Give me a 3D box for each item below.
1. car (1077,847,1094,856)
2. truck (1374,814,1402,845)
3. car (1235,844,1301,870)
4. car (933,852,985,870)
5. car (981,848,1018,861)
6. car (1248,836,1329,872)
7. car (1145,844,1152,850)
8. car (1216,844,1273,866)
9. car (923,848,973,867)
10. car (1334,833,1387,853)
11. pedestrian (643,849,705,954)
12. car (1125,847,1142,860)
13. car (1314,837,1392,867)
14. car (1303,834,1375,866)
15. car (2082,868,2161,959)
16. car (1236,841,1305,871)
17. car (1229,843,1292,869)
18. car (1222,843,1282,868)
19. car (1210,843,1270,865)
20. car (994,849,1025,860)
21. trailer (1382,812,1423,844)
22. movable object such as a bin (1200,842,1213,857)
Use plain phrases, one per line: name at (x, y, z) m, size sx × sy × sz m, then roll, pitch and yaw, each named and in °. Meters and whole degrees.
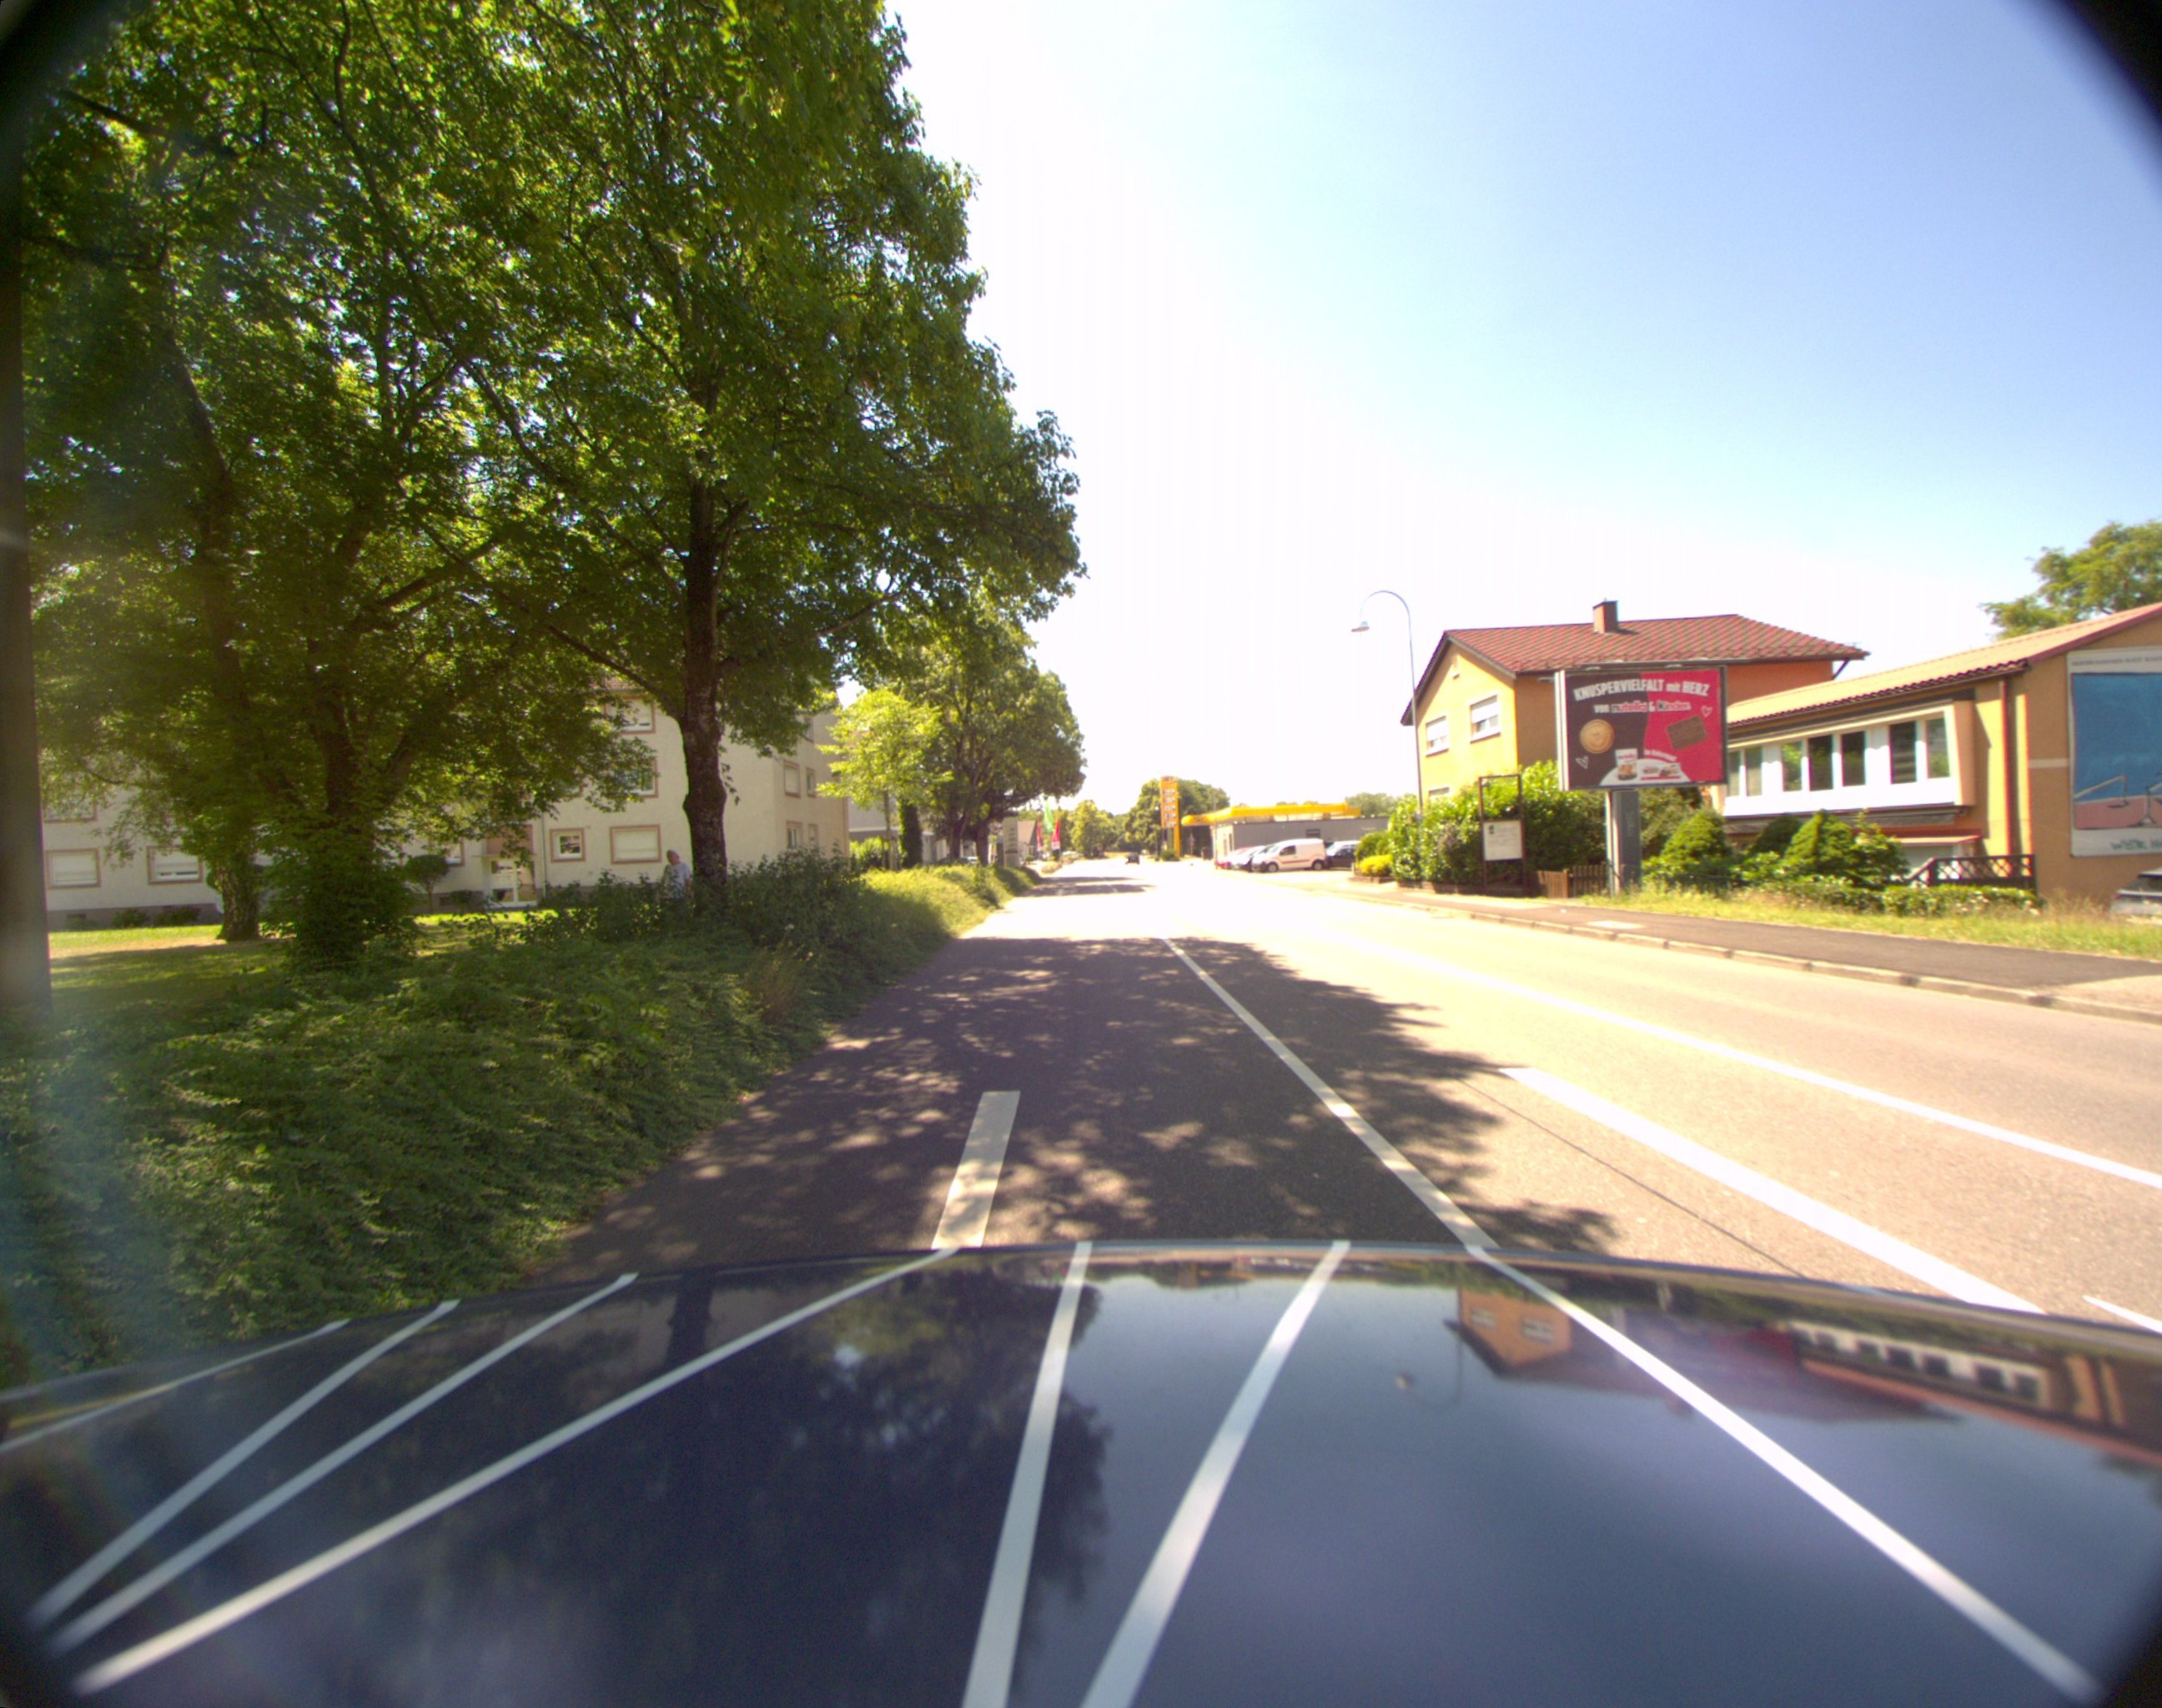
car at (0.890, -0.503, 150.522) m, size 3.405 × 1.498 × 1.582 m, roll -2°, pitch 1°, yaw 2°
truck at (34.336, -2.721, 85.042) m, size 1.850 × 3.223 × 3.189 m, roll -2°, pitch 0°, yaw 1°
car at (11.933, 0.163, 48.677) m, size 3.673 × 1.523 × 1.922 m, roll -2°, pitch 1°, yaw -2°
car at (-11.211, 0.632, 69.927) m, size 4.362 × 1.363 × 1.952 m, roll -3°, pitch 1°, yaw -22°
car at (-11.146, 0.021, 104.478) m, size 4.586 × 1.632 × 2.002 m, roll -2°, pitch 1°, yaw 20°
car at (12.043, 0.002, 44.306) m, size 4.105 × 1.887 × 1.999 m, roll -2°, pitch 1°, yaw -4°
car at (20.447, -2.145, 230.917) m, size 1.973 × 1.663 × 4.249 m, roll -2°, pitch 0°, yaw 5°
car at (11.883, 0.056, 55.485) m, size 3.673 × 1.449 × 1.892 m, roll -2°, pitch 1°, yaw -2°
car at (-11.633, 0.284, 66.516) m, size 3.997 × 1.541 × 1.797 m, roll -1°, pitch 1°, yaw 0°
car at (24.645, -1.006, 67.116) m, size 3.996 × 1.575 × 1.754 m, roll -2°, pitch 1°, yaw 2°
pedestrian at (-7.575, 0.866, 14.164) m, size 0.705 × 1.903 × 0.660 m, roll -2°, pitch 1°, yaw 3°
car at (6.273, -0.093, 91.690) m, size 1.714 × 1.486 × 4.277 m, roll -2°, pitch 0°, yaw 0°
car at (16.574, -0.131, 46.414) m, size 3.997 × 1.559 × 1.830 m, roll -3°, pitch 1°, yaw -1°
car at (16.490, -0.264, 48.652) m, size 3.912 × 1.850 × 1.999 m, roll -2°, pitch 1°, yaw -1°
car at (19.687, 0.949, 12.387) m, size 4.035 × 1.442 × 1.780 m, roll -1°, pitch 1°, yaw 6°
car at (11.517, 0.111, 46.404) m, size 3.673 × 1.663 × 1.922 m, roll -2°, pitch 1°, yaw -2°
car at (11.989, 0.141, 50.888) m, size 3.673 × 1.572 × 1.922 m, roll -2°, pitch 1°, yaw -2°
car at (11.889, 0.084, 52.975) m, size 3.673 × 1.596 × 1.881 m, roll -2°, pitch 1°, yaw -2°
car at (12.076, -0.002, 57.920) m, size 4.136 × 1.436 × 1.826 m, roll -2°, pitch 1°, yaw 0°
car at (-10.488, 0.017, 111.322) m, size 3.992 × 1.452 × 1.807 m, roll -2°, pitch 1°, yaw 16°
trailer at (34.272, -2.730, 81.184) m, size 1.869 × 3.201 × 5.913 m, roll -2°, pitch 0°, yaw 1°
movable object such as a bin at (13.412, -0.433, 81.108) m, size 0.954 × 1.508 × 1.428 m, roll -6°, pitch 0°, yaw 1°
